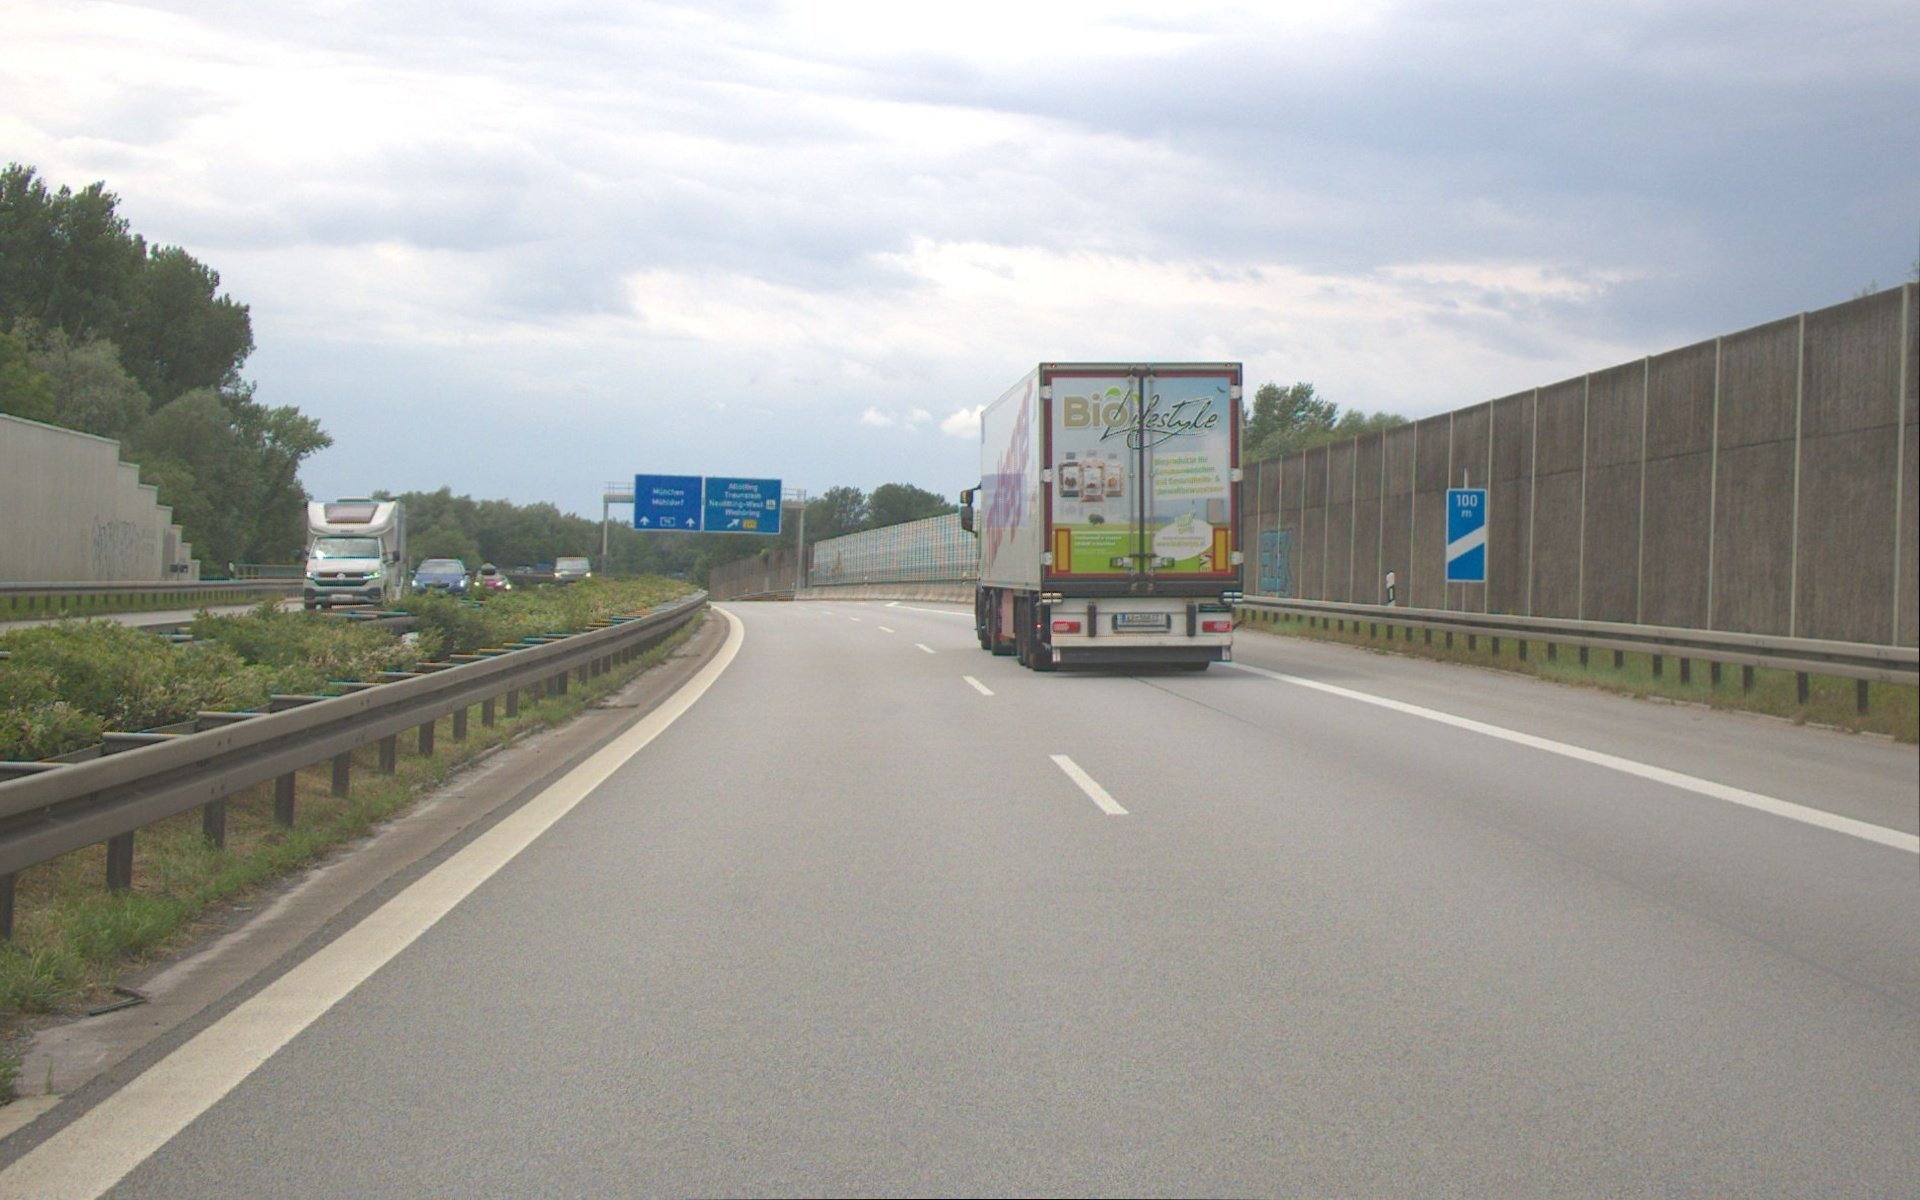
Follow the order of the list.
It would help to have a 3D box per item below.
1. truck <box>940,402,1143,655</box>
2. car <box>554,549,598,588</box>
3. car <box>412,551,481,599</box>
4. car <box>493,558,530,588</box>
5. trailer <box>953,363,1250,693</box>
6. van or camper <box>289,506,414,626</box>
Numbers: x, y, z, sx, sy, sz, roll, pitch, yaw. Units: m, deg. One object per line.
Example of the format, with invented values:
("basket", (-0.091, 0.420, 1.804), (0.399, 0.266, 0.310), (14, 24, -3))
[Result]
("truck", (1.263, -1.134, 56.689), (2.755, 3.946, 5.678), (0, 0, -4))
("car", (-19.026, -1.577, 170.313), (1.993, 1.879, 4.556), (0, 1, -4))
("car", (-16.610, -0.820, 111.398), (1.811, 1.541, 4.517), (0, 1, -4))
("car", (-26.680, -1.592, 204.618), (1.969, 1.755, 4.945), (1, 0, -6))
("trailer", (1.784, -0.966, 50.512), (2.792, 4.160, 14.105), (0, 0, -4))
("van or camper", (-14.613, -0.825, 82.881), (2.254, 2.769, 5.756), (1, 1, -3))
